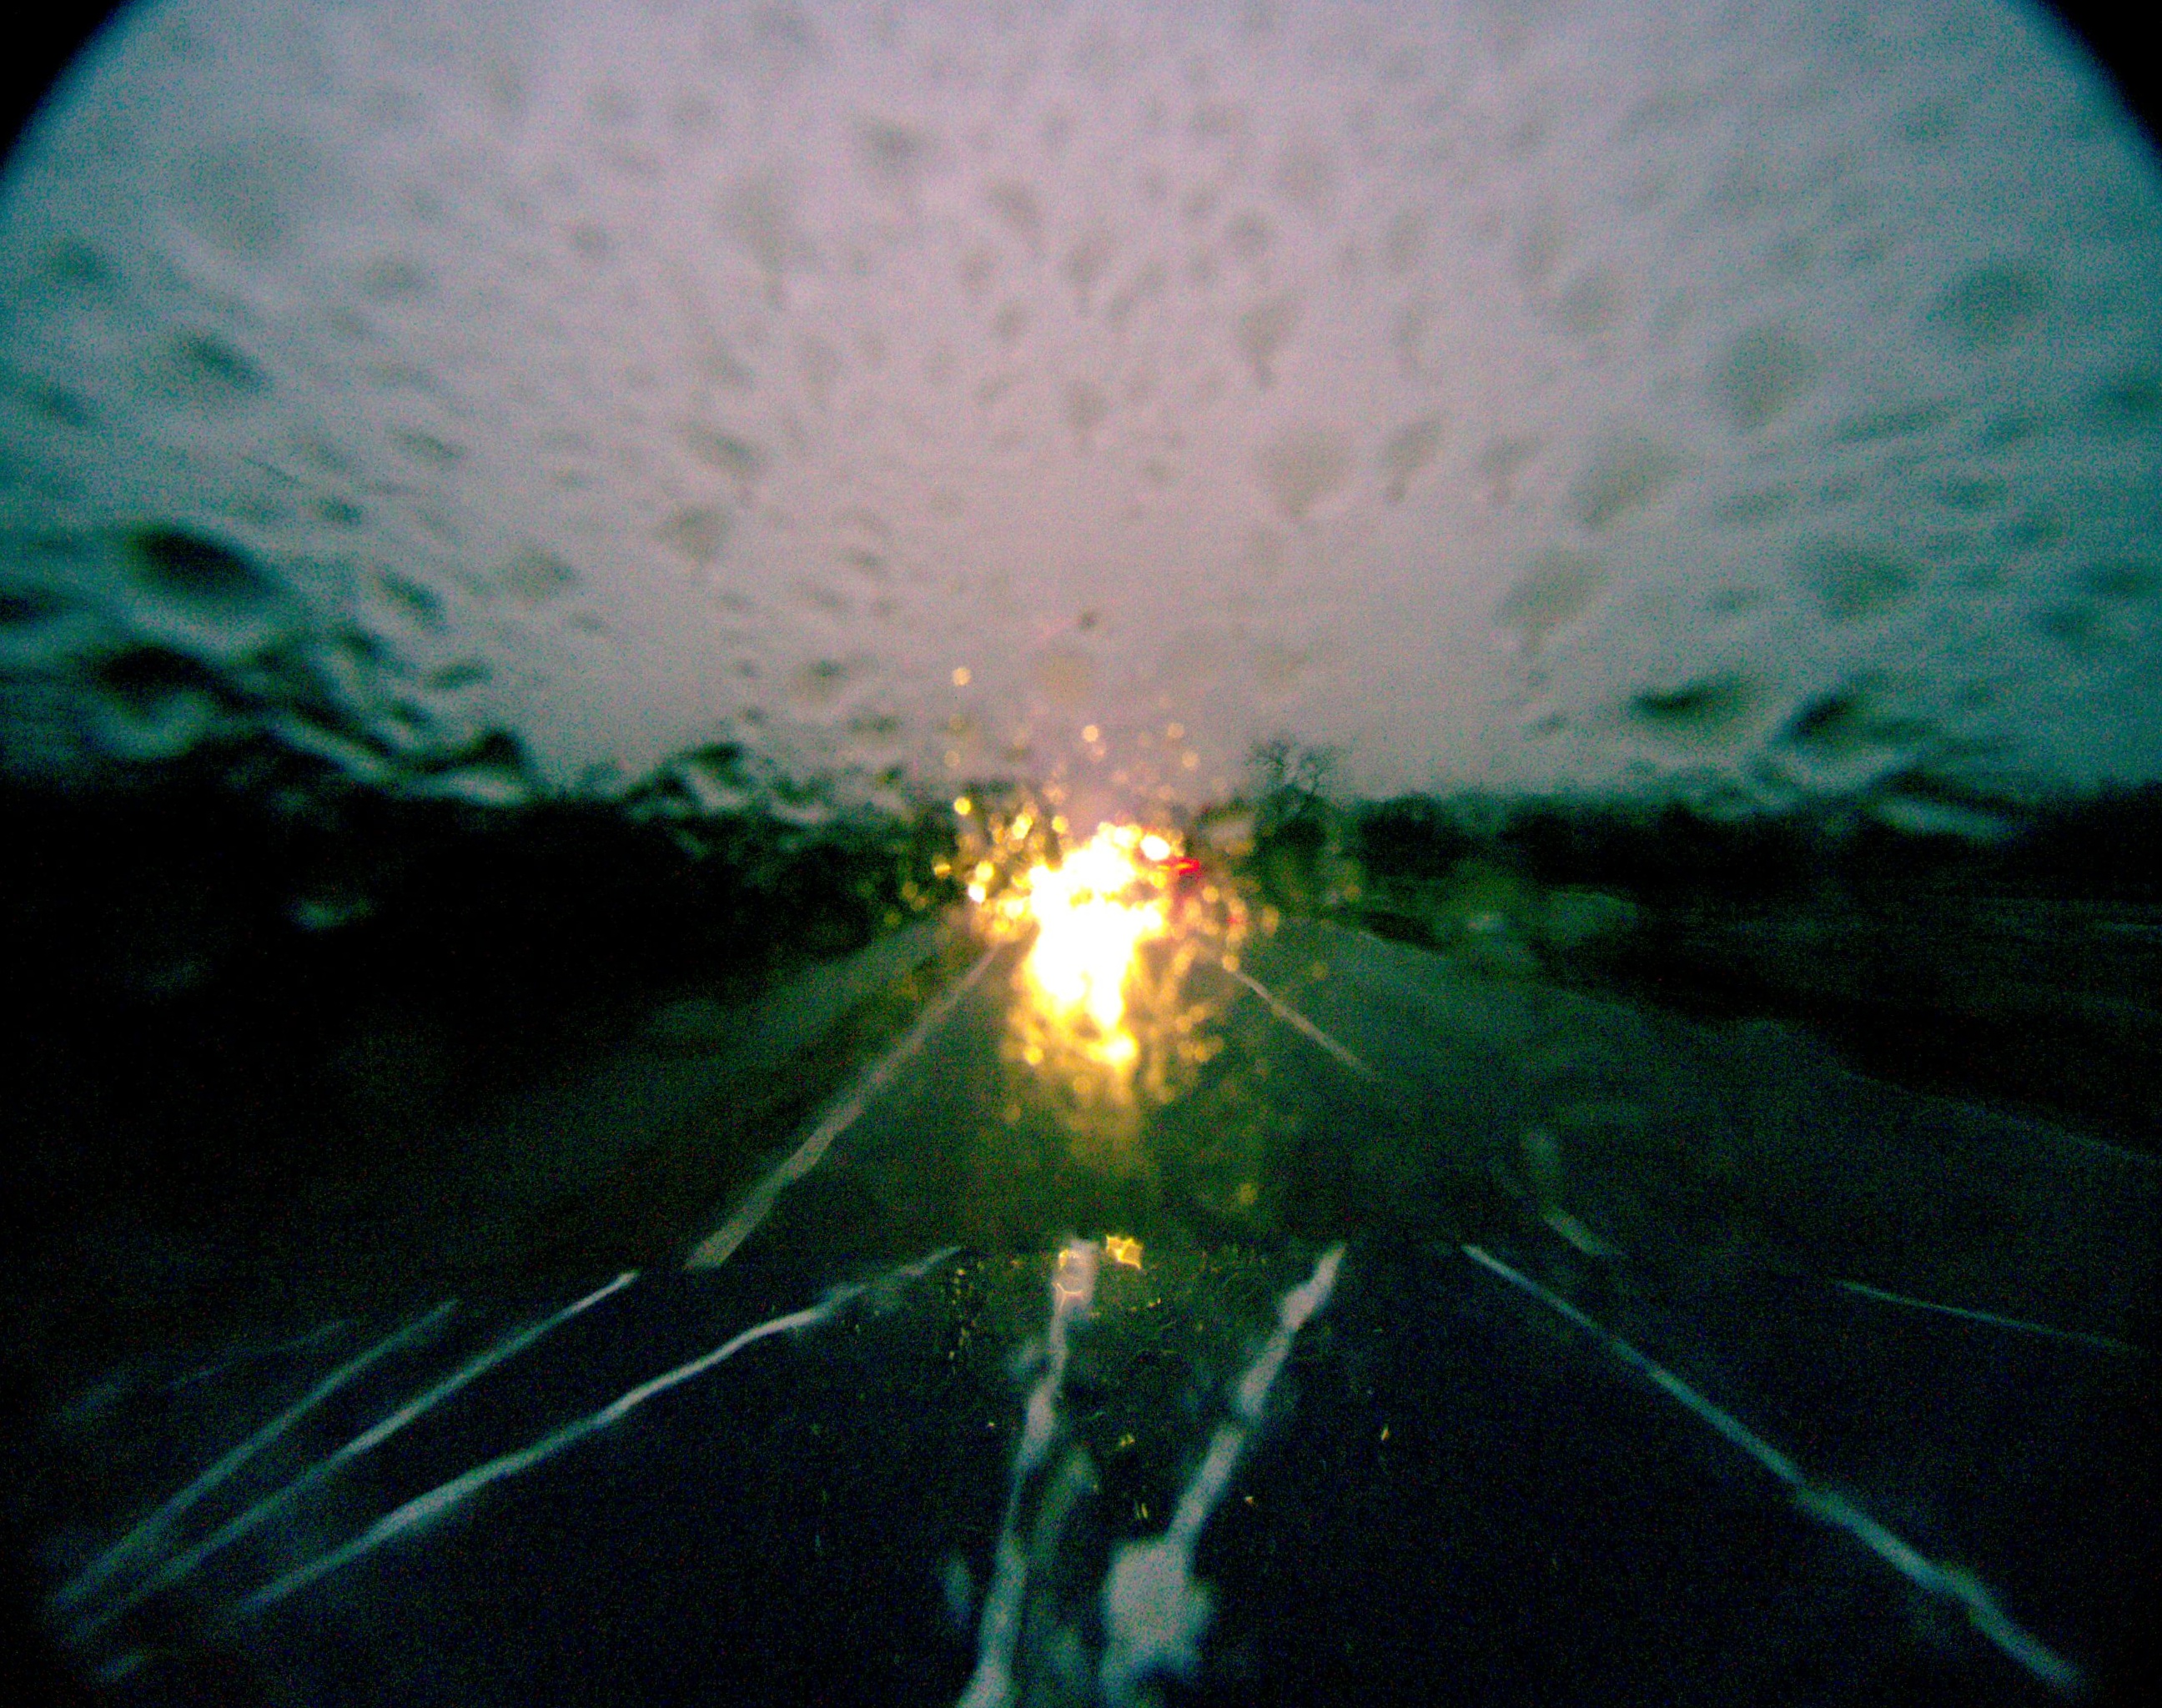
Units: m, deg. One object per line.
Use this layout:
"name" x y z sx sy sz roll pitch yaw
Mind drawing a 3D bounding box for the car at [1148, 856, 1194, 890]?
"car" 4.281 0.870 36.763 1.766 1.546 4.000 0 0 1

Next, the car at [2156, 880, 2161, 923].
"car" 35.320 1.411 23.258 3.453 1.334 1.597 -2 1 -13

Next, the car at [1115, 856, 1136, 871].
"car" 4.893 1.016 83.362 1.860 1.508 4.515 1 0 -2

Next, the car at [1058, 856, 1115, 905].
"car" 0.205 0.887 27.273 1.860 1.604 4.000 -1 0 1
